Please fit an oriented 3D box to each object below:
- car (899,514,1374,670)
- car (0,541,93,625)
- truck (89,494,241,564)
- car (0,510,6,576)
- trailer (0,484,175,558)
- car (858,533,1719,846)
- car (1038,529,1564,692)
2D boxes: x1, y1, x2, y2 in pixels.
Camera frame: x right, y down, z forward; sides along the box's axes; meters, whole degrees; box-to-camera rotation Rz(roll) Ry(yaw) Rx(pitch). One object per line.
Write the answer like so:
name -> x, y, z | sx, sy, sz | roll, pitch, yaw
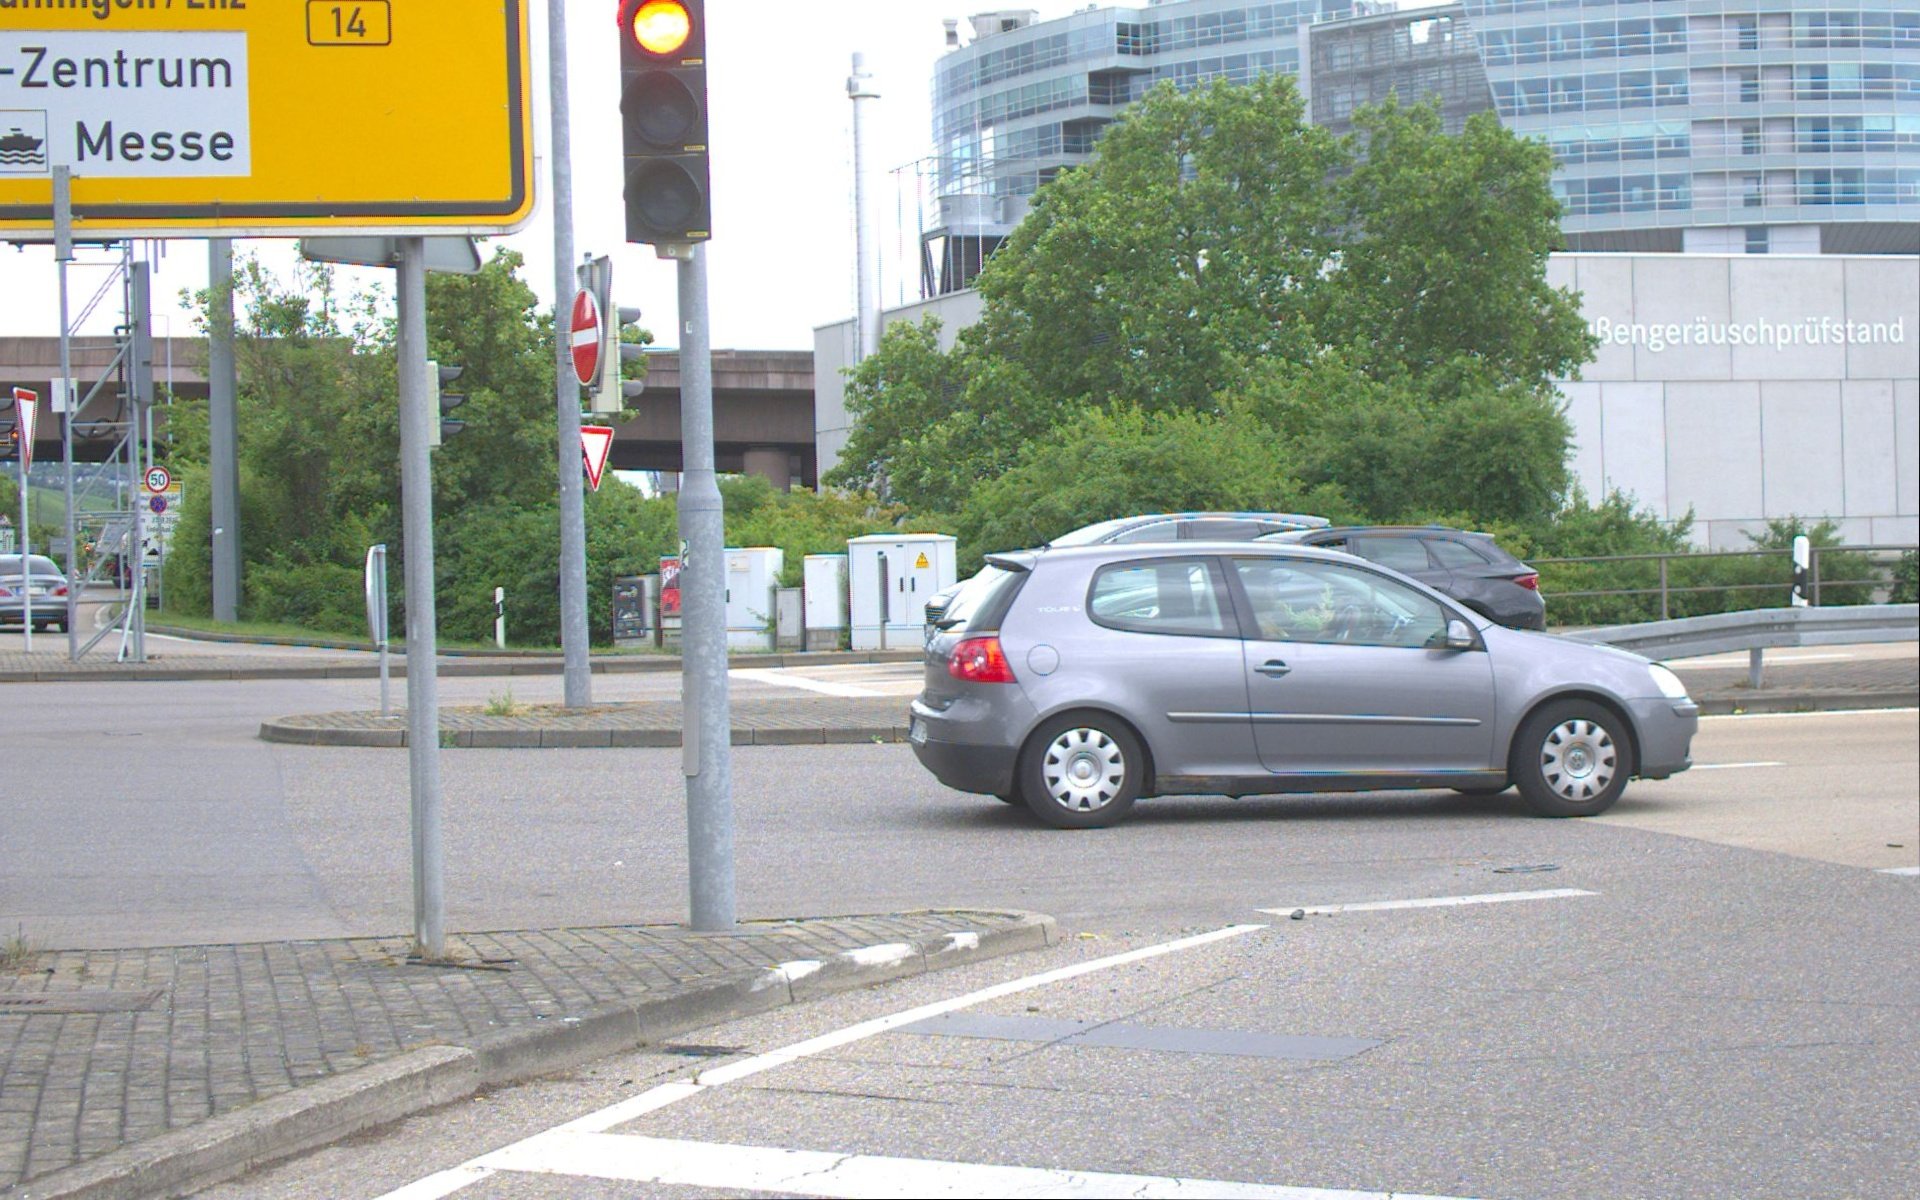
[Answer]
car -> 1.865, -0.119, 36.710 | 4.677, 1.566, 1.956 | 0, 2, -16
car -> -17.226, -0.283, 62.754 | 1.993, 1.437, 4.111 | 1, -1, -24
truck -> -34.094, -3.046, 147.397 | 5.759, 2.615, 2.621 | 3, 0, -27
car -> -23.596, -1.356, 80.945 | 1.993, 1.459, 4.111 | 1, -1, -13
trailer -> -37.843, -3.378, 145.372 | 8.539, 2.615, 2.610 | 3, 0, -27
car -> 1.673, 0.422, 18.198 | 4.229, 1.456, 1.730 | -1, 2, -8
car -> 3.239, 0.064, 32.883 | 4.604, 1.452, 1.956 | 0, 2, -17
